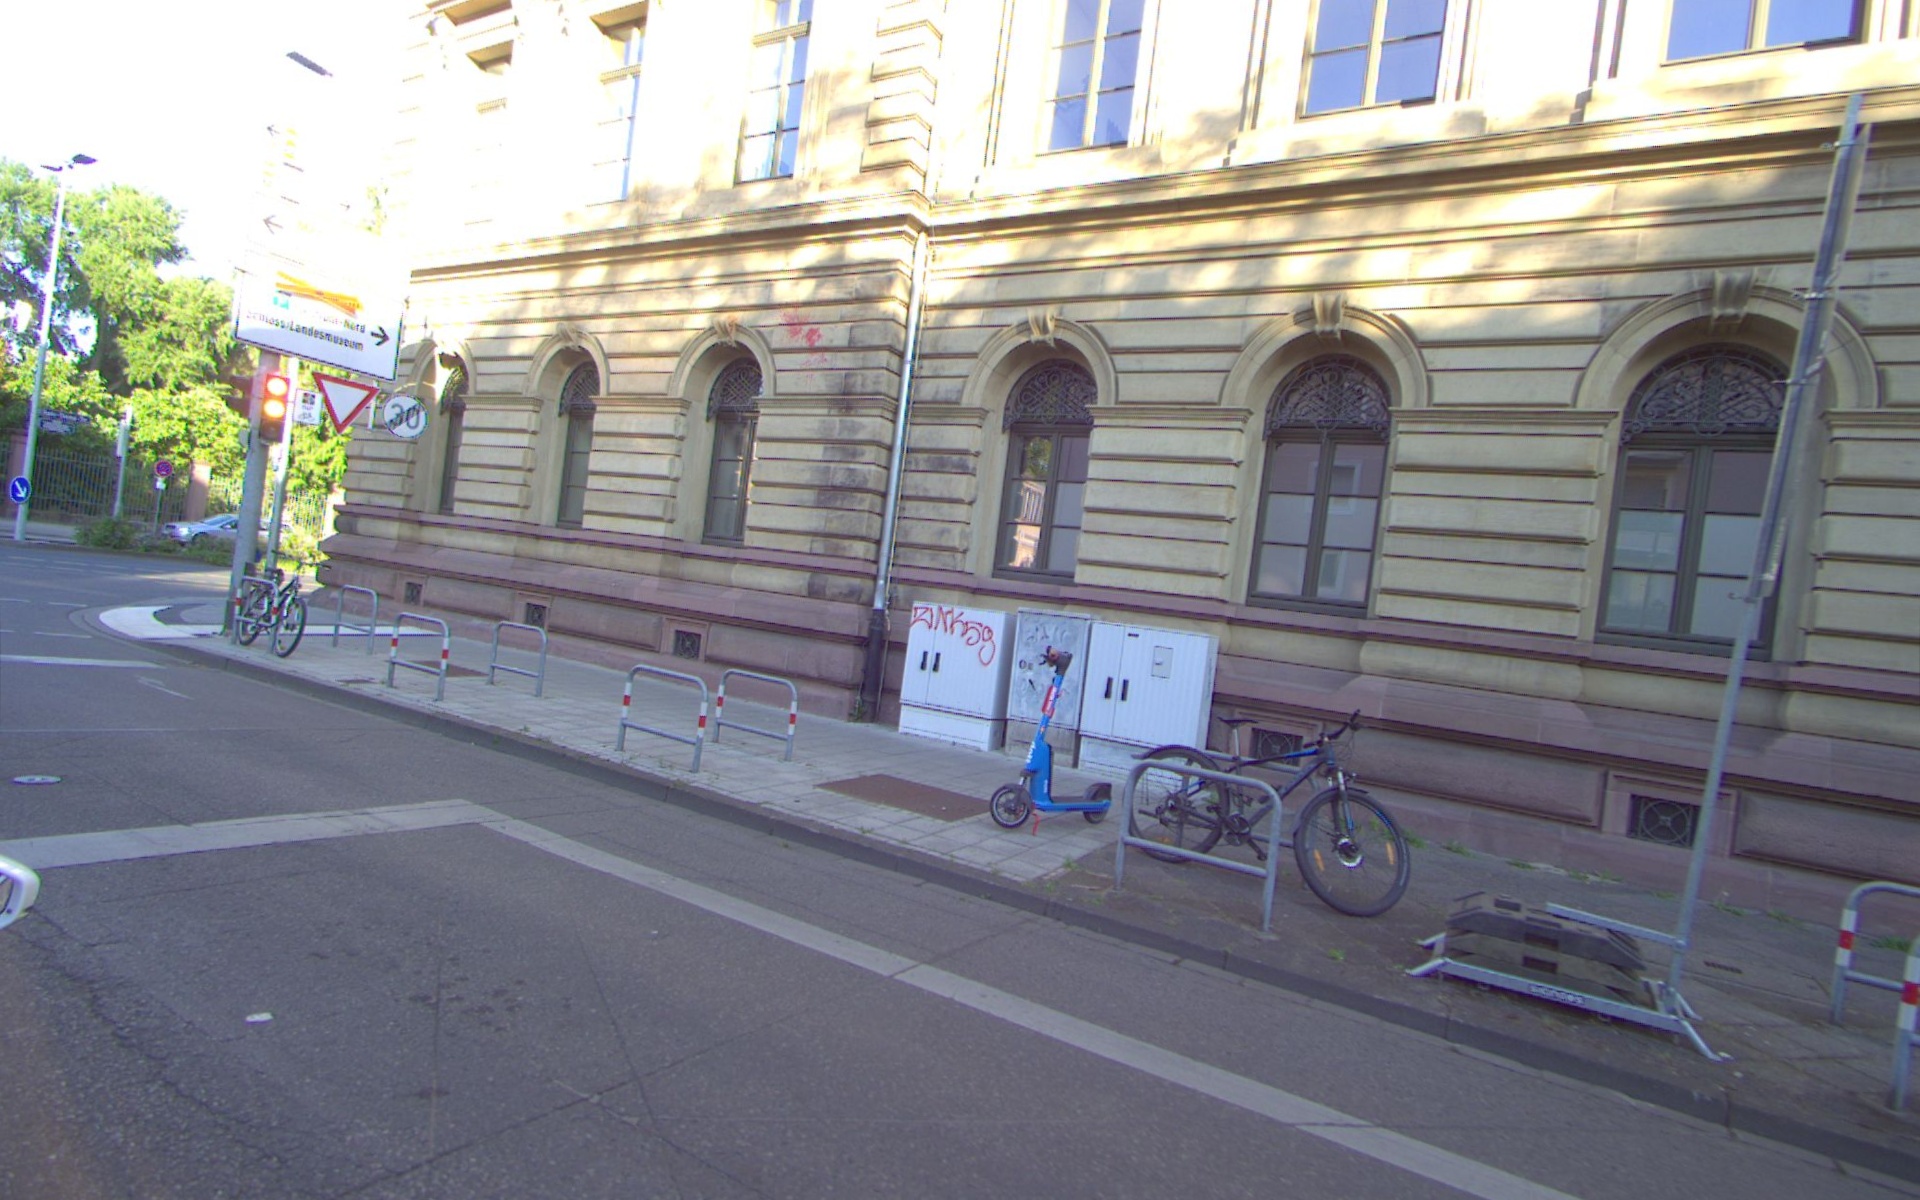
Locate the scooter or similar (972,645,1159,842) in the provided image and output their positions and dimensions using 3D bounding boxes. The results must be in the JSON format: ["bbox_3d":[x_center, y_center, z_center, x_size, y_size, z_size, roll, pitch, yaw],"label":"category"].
[{"bbox_3d":[0.746,0.968,7.023,1.125,1.211,0.577,4,2,-41],"label":"scooter or similar"}]

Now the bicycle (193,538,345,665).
[{"bbox_3d":[-7.616,-0.003,11.062,1.889,1.203,0.583,5,-1,32],"label":"bicycle"}]

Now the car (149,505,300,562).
[{"bbox_3d":[-27.558,-2.473,37.839,1.684,1.462,4.195,8,-1,27],"label":"car"}]

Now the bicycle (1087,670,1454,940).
[{"bbox_3d":[1.882,1.155,6.205,1.912,1.149,0.827,8,3,32],"label":"bicycle"}]
